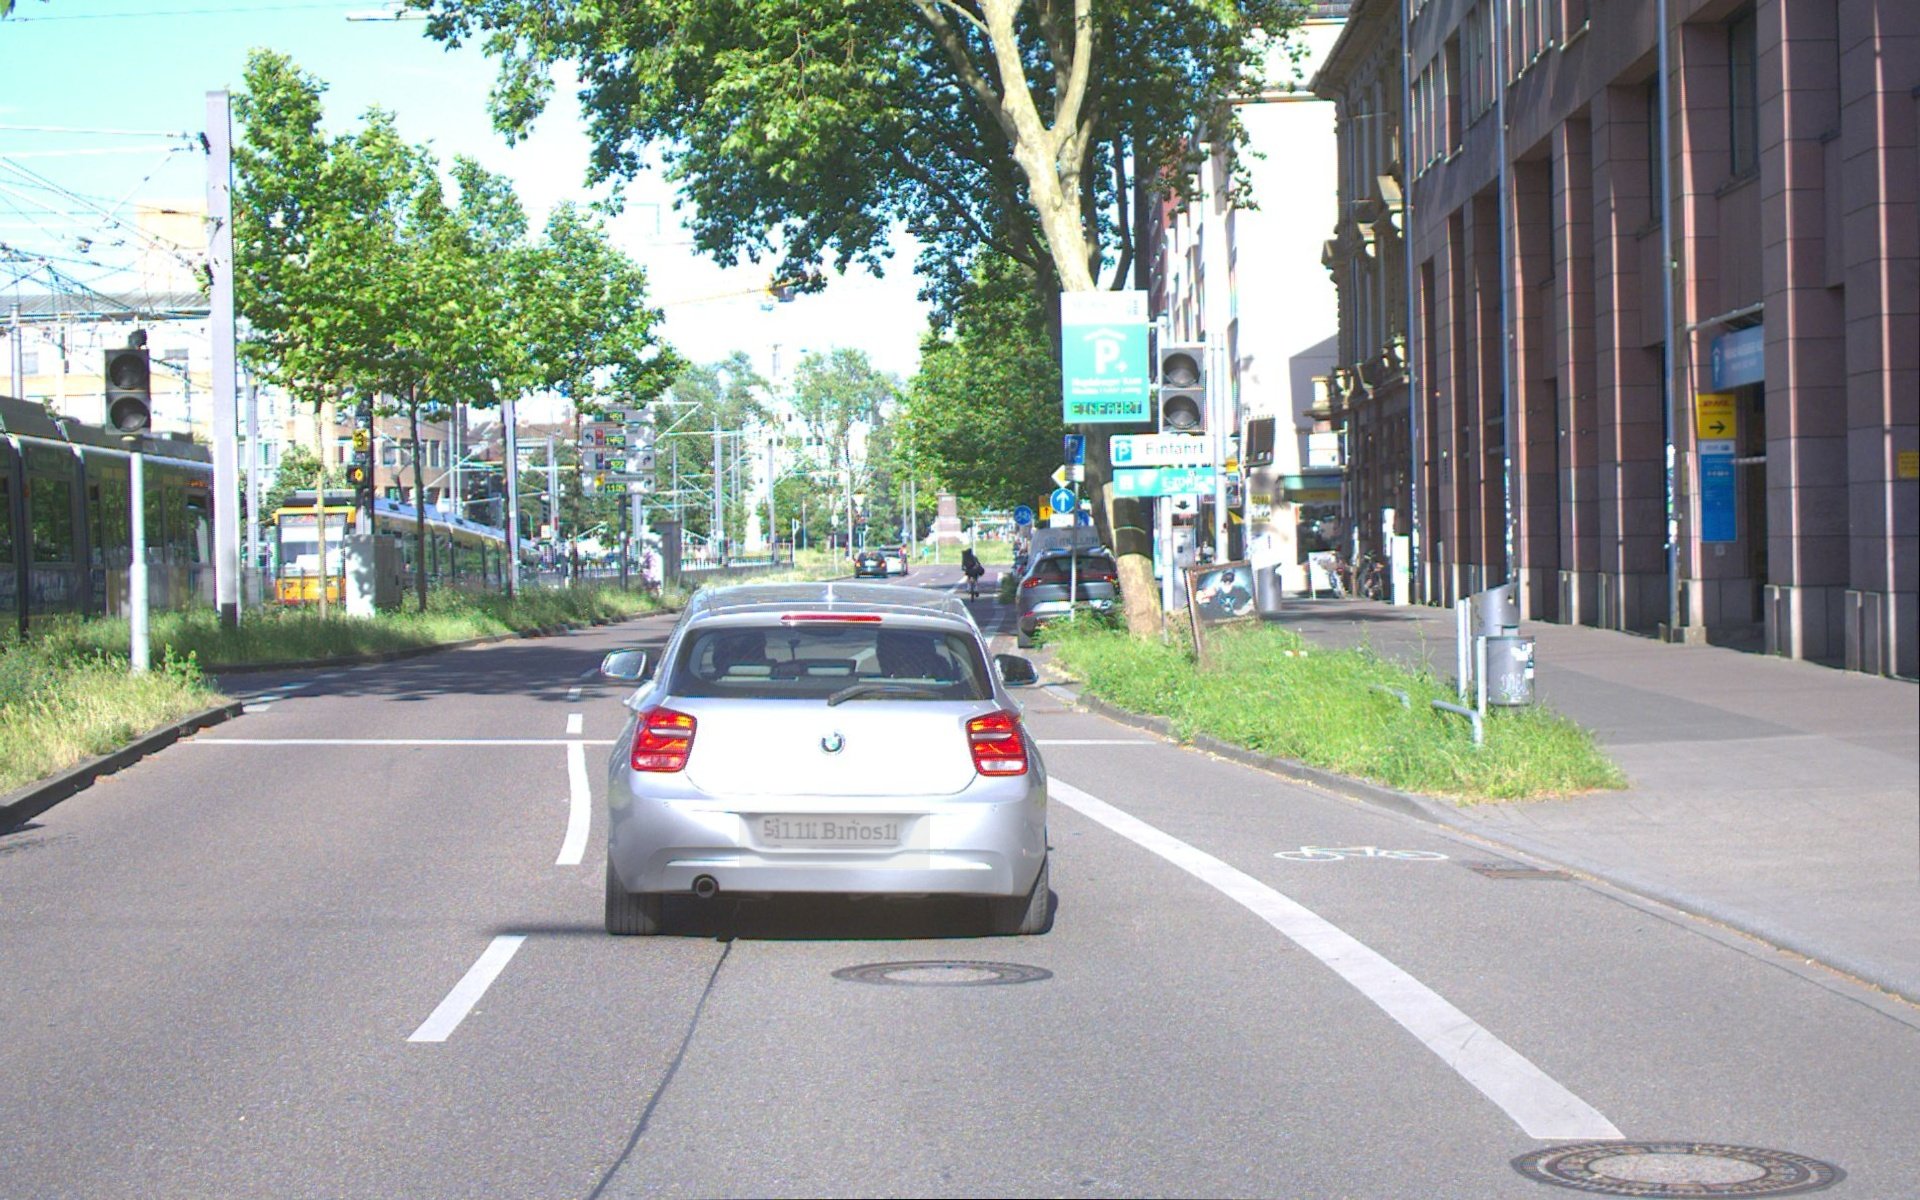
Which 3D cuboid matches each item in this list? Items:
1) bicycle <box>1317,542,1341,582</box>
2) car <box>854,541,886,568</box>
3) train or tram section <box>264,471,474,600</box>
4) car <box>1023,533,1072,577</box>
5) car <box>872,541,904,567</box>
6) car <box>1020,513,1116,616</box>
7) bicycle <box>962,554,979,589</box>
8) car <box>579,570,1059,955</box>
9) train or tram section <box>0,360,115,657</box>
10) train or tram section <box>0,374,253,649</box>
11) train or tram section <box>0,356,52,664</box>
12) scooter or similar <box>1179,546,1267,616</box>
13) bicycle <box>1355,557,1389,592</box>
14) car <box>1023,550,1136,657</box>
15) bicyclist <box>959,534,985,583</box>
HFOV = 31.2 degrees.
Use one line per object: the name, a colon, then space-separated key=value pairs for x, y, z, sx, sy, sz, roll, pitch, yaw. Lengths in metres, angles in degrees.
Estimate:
bicycle: x=9.249 y=-0.954 z=86.104 sx=0.414 sy=0.994 sz=1.882 roll=0 pitch=1 yaw=1
car: x=-4.845 y=-2.454 z=184.837 sx=1.726 sy=1.465 sz=4.411 roll=0 pitch=1 yaw=-2
train or tram section: x=-17.445 y=-1.959 z=103.374 sx=2.963 sy=3.472 sz=21.220 roll=0 pitch=1 yaw=-1
car: x=3.275 y=-1.708 z=128.894 sx=1.694 sy=1.497 sz=3.801 roll=-3 pitch=1 yaw=1
car: x=-4.007 y=-2.585 z=192.886 sx=1.644 sy=1.416 sz=4.000 roll=0 pitch=1 yaw=1
car: x=2.172 y=-0.727 z=70.181 sx=1.856 sy=2.007 sz=4.724 roll=1 pitch=1 yaw=1
bicycle: x=0.341 y=-0.915 z=108.262 sx=0.499 sy=1.085 sz=1.997 roll=1 pitch=1 yaw=1
car: x=-0.572 y=0.599 z=15.015 sx=1.798 sy=1.410 sz=4.000 roll=1 pitch=1 yaw=-1
train or tram section: x=-13.473 y=-1.240 z=46.936 sx=2.955 sy=3.883 sz=3.866 roll=1 pitch=1 yaw=-1
train or tram section: x=-13.637 y=-1.347 z=54.276 sx=2.952 sy=3.883 sz=10.804 roll=1 pitch=1 yaw=-1
train or tram section: x=-13.210 y=-1.066 z=37.888 sx=2.928 sy=3.799 sz=14.275 roll=1 pitch=1 yaw=-1
scooter or similar: x=4.732 y=-0.341 z=61.871 sx=1.540 sy=1.233 sz=0.449 roll=-1 pitch=1 yaw=2
bicycle: x=9.423 y=-0.590 z=78.665 sx=0.549 sy=0.771 sz=1.663 roll=-3 pitch=1 yaw=1
car: x=1.865 y=0.023 z=53.509 sx=1.668 sy=1.565 sz=4.280 roll=1 pitch=1 yaw=2
bicyclist: x=0.371 y=-1.304 z=108.333 sx=0.785 sy=1.526 sz=0.895 roll=1 pitch=1 yaw=1
